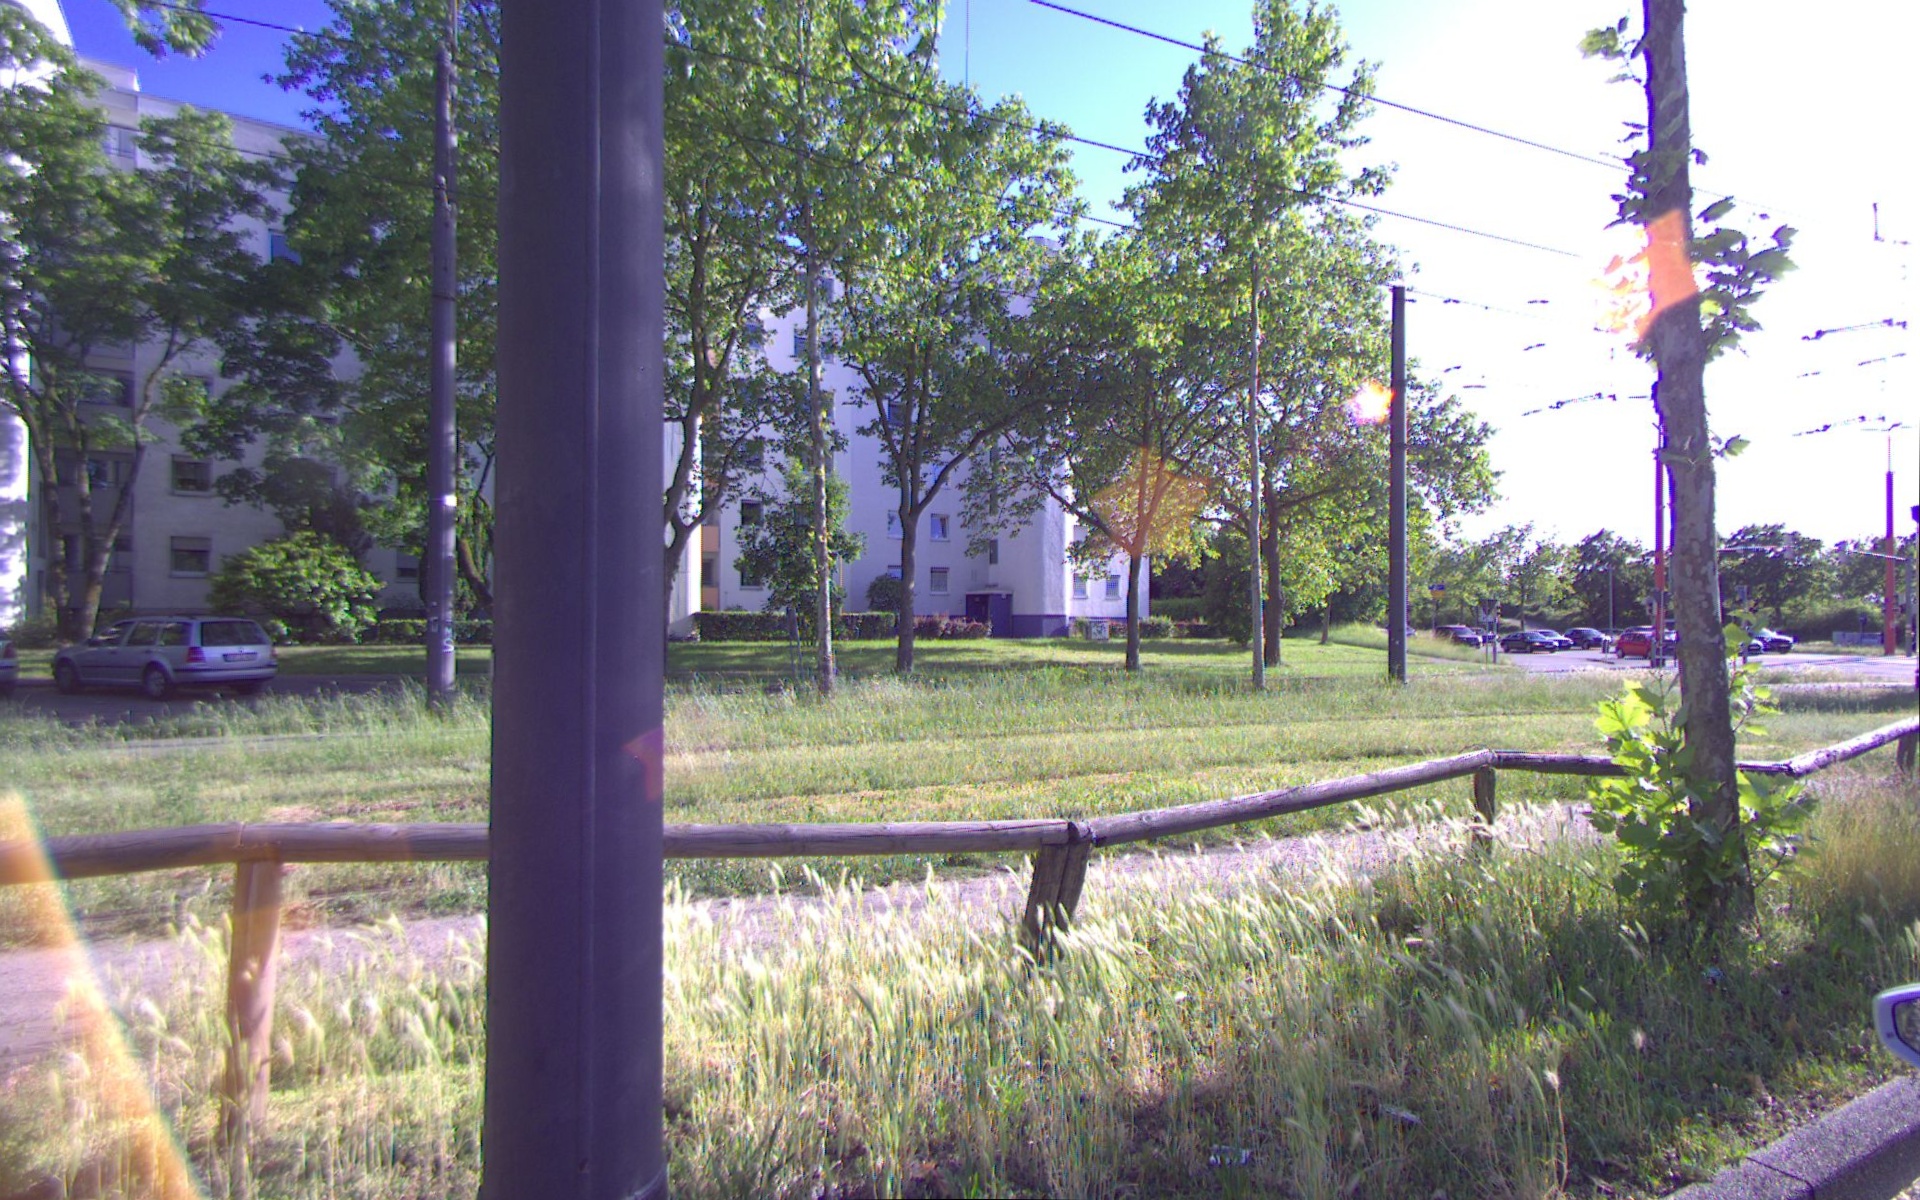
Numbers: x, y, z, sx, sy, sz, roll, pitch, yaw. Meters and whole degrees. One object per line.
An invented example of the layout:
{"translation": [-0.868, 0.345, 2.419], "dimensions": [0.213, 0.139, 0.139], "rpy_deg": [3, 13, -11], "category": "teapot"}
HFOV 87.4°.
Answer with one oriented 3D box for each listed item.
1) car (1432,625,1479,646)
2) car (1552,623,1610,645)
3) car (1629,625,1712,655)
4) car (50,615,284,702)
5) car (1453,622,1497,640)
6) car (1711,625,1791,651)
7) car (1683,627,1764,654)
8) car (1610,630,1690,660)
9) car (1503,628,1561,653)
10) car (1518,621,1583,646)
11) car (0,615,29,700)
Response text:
{"translation": [38.651, 2.740, 78.385], "dimensions": [1.624, 1.540, 4.200], "rpy_deg": [1, -1, 1], "category": "car"}
{"translation": [45.299, 2.458, 73.332], "dimensions": [1.513, 1.434, 4.154], "rpy_deg": [1, -1, -3], "category": "car"}
{"translation": [42.684, 2.368, 60.498], "dimensions": [1.721, 1.669, 4.644], "rpy_deg": [1, -1, 1], "category": "car"}
{"translation": [-14.539, 1.012, 18.431], "dimensions": [3.830, 1.421, 1.581], "rpy_deg": [1, 0, 20], "category": "car"}
{"translation": [44.756, 2.701, 87.342], "dimensions": [1.513, 1.434, 4.154], "rpy_deg": [1, -1, -3], "category": "car"}
{"translation": [48.649, 2.323, 61.898], "dimensions": [1.513, 1.434, 4.154], "rpy_deg": [1, -1, -3], "category": "car"}
{"translation": [45.570, 2.393, 60.065], "dimensions": [1.513, 1.434, 4.154], "rpy_deg": [1, -1, -3], "category": "car"}
{"translation": [38.810, 2.491, 56.603], "dimensions": [1.624, 1.540, 4.200], "rpy_deg": [1, -1, 1], "category": "car"}
{"translation": [39.104, 2.738, 68.761], "dimensions": [1.624, 1.540, 4.200], "rpy_deg": [1, -1, 1], "category": "car"}
{"translation": [42.726, 2.428, 72.822], "dimensions": [1.723, 1.669, 4.640], "rpy_deg": [1, -1, -5], "category": "car"}
{"translation": [-17.988, 0.949, 17.157], "dimensions": [3.567, 1.421, 1.581], "rpy_deg": [1, 0, 20], "category": "car"}
